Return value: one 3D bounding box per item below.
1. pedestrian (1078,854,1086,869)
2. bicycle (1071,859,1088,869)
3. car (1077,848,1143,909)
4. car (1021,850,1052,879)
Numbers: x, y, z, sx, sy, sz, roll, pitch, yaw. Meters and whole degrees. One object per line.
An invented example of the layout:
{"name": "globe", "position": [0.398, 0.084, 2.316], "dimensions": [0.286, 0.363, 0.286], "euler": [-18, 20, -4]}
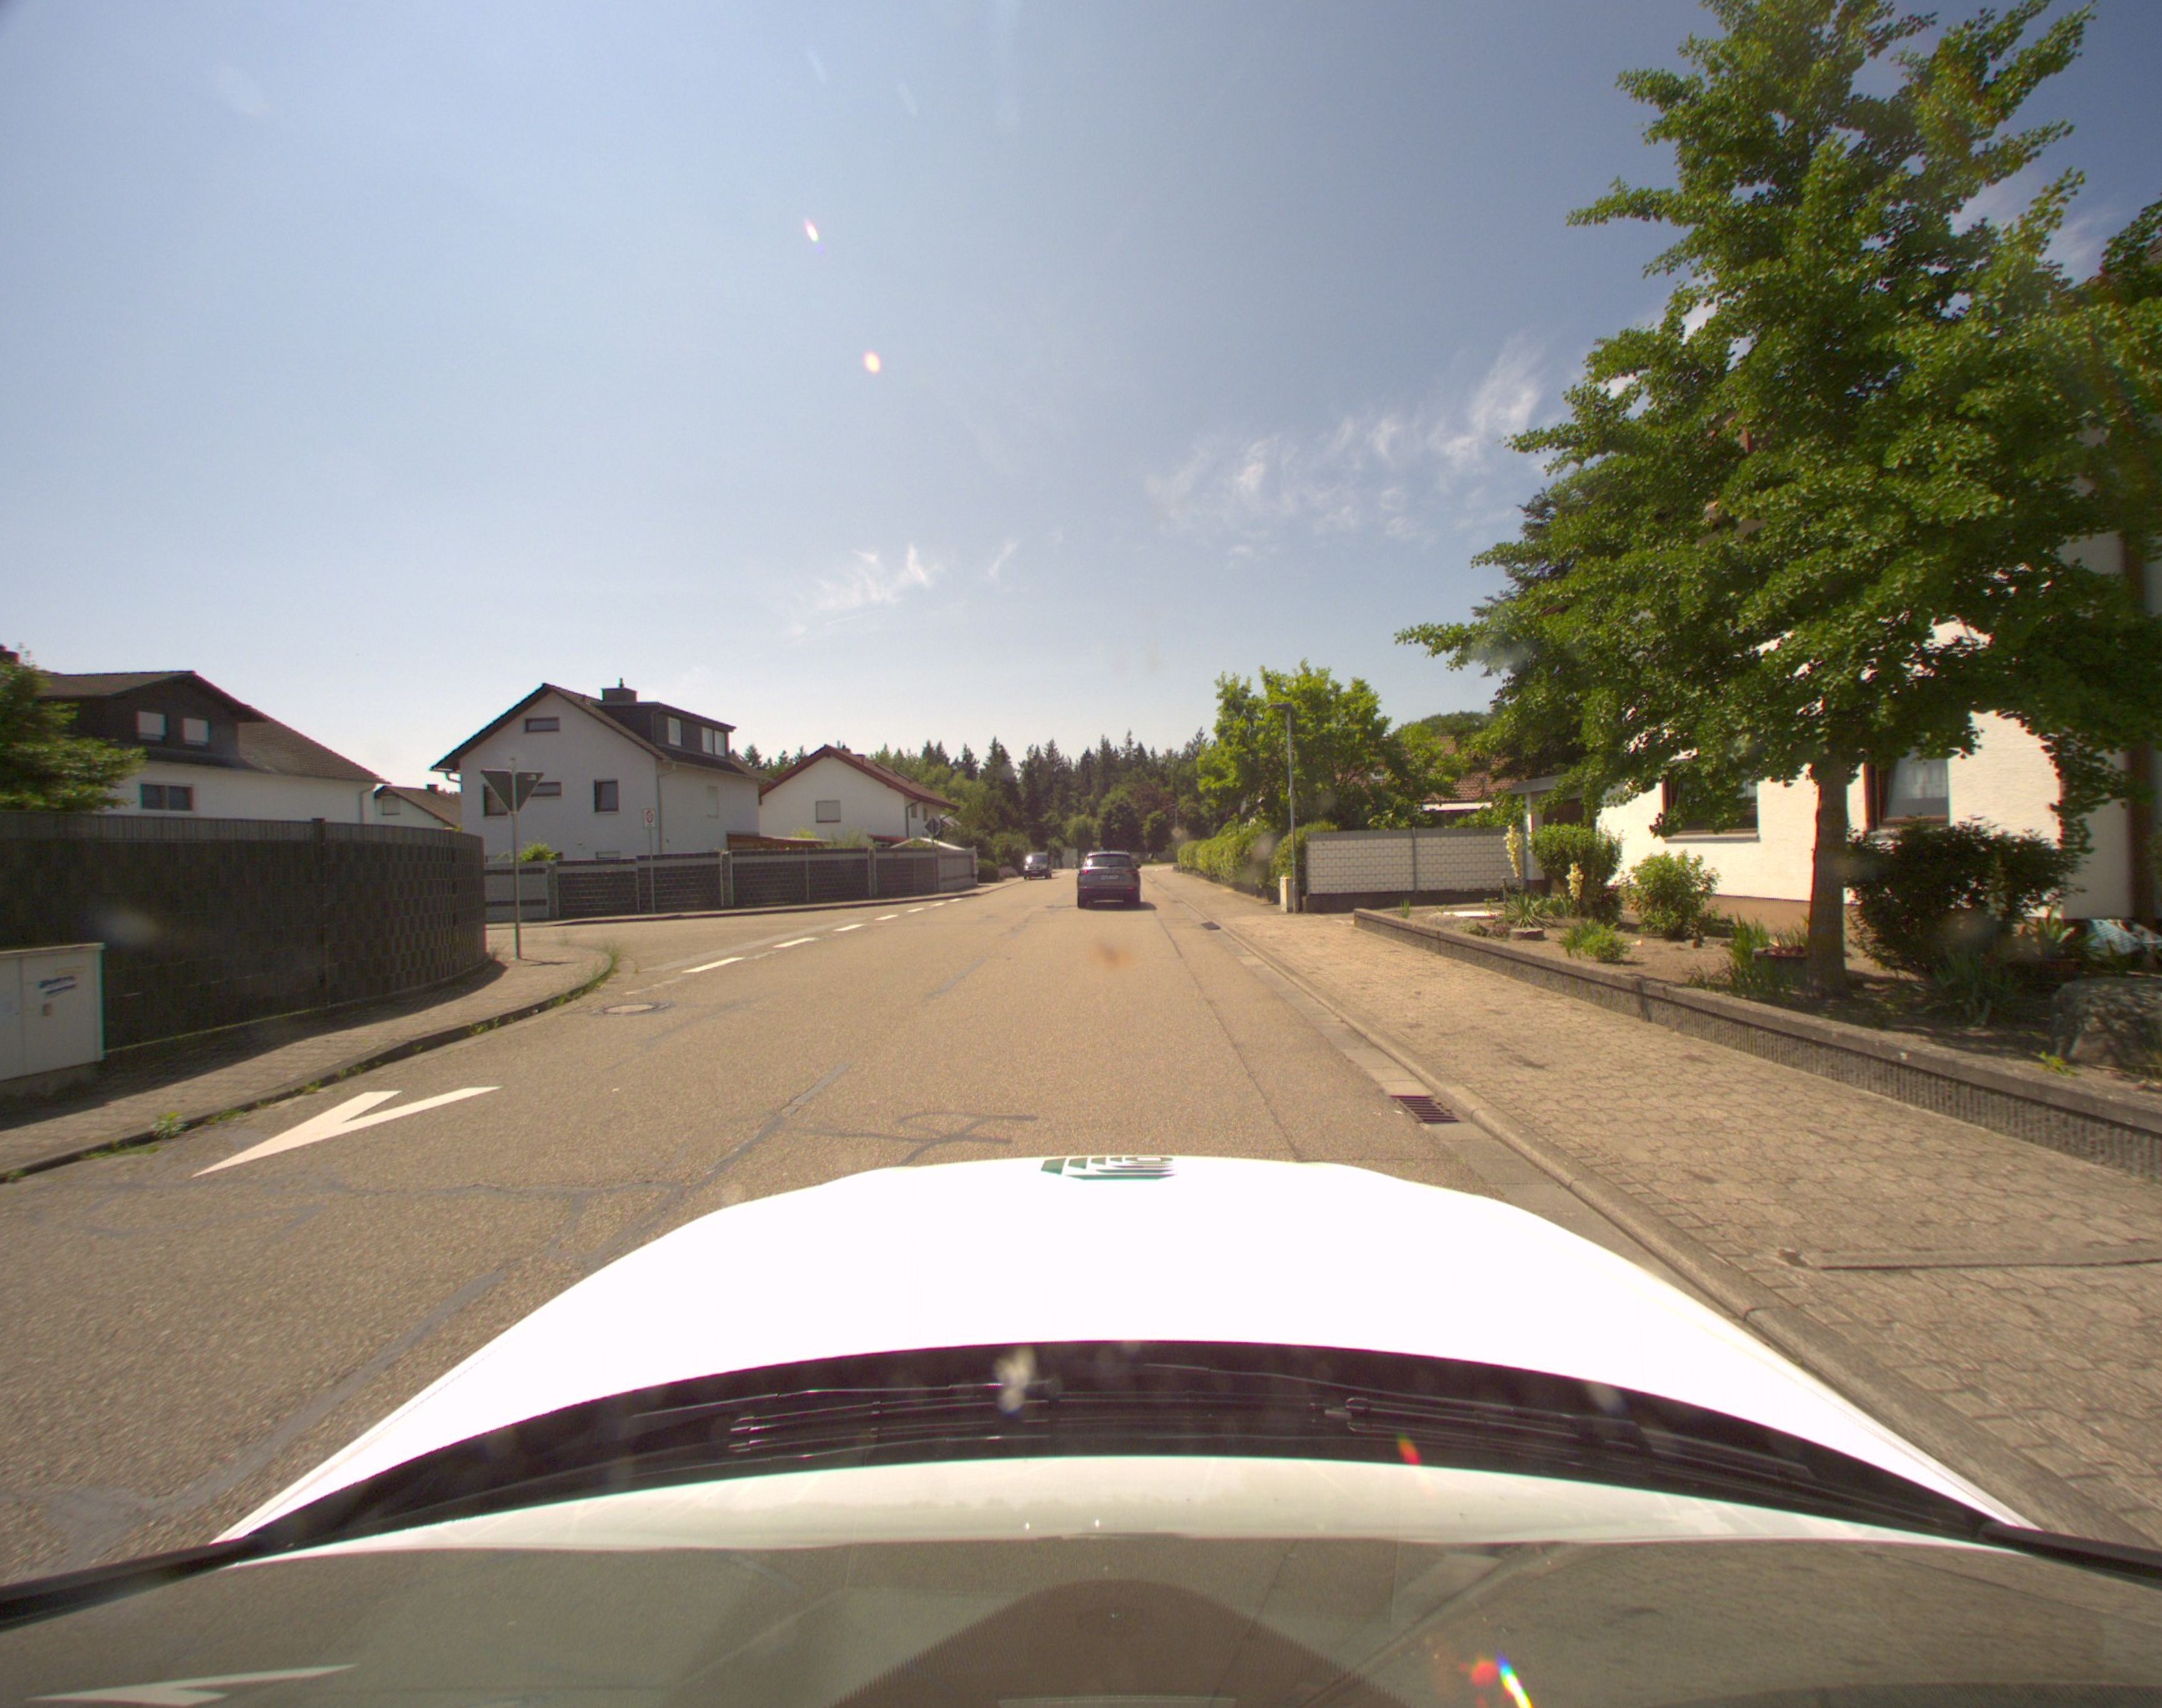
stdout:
{"name": "pedestrian", "position": [0.073, 0.772, 82.993], "dimensions": [0.615, 1.501, 0.499], "euler": [-2, -1, -36]}
{"name": "bicycle", "position": [-0.138, 0.979, 83.446], "dimensions": [1.857, 0.964, 0.438], "euler": [-2, 0, -38]}
{"name": "car", "position": [0.854, 0.668, 24.055], "dimensions": [1.756, 1.618, 4.002], "euler": [-1, 0, 2]}
{"name": "car", "position": [-3.013, 0.695, 55.575], "dimensions": [1.712, 1.846, 4.056], "euler": [-2, 0, 2]}
